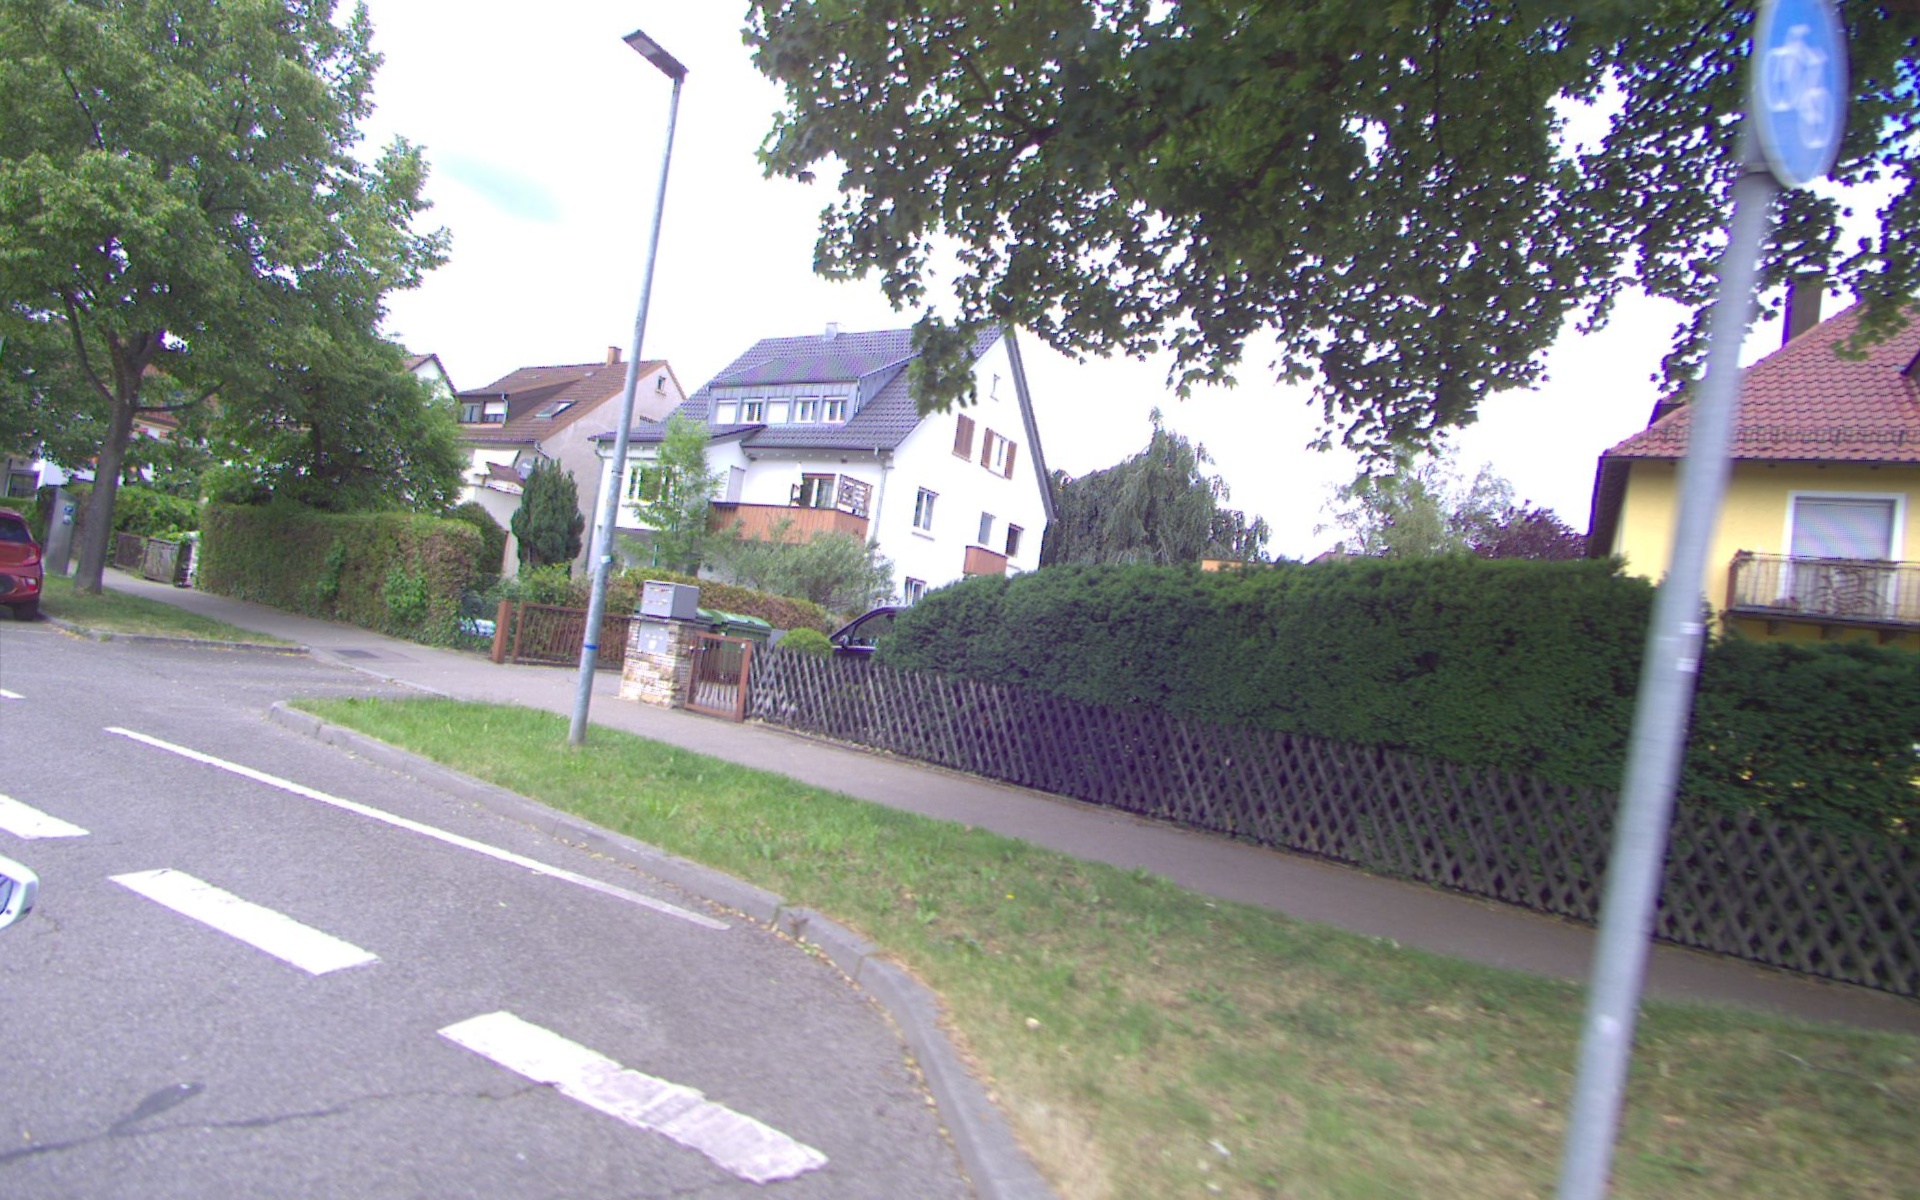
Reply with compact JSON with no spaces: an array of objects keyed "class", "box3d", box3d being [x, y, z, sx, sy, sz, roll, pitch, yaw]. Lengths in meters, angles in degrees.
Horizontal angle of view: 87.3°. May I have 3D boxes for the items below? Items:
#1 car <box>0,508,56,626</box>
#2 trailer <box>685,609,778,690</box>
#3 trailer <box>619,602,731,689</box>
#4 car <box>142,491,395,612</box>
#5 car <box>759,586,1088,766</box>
[{"class":"car","box3d":[-14.016,-0.622,13.808,3.612,1.471,1.567,5,-3,36]},{"class":"trailer","box3d":[-4.790,1.057,21.141,0.967,1.433,1.475,7,-5,30]},{"class":"trailer","box3d":[-5.553,0.902,19.695,1.131,1.388,1.587,7,-5,30]},{"class":"car","box3d":[-20.601,-1.338,30.328,1.965,2.621,5.726,8,-2,32]},{"class":"car","box3d":[-0.619,1.051,14.701,4.399,1.901,1.819,6,-4,36]}]
